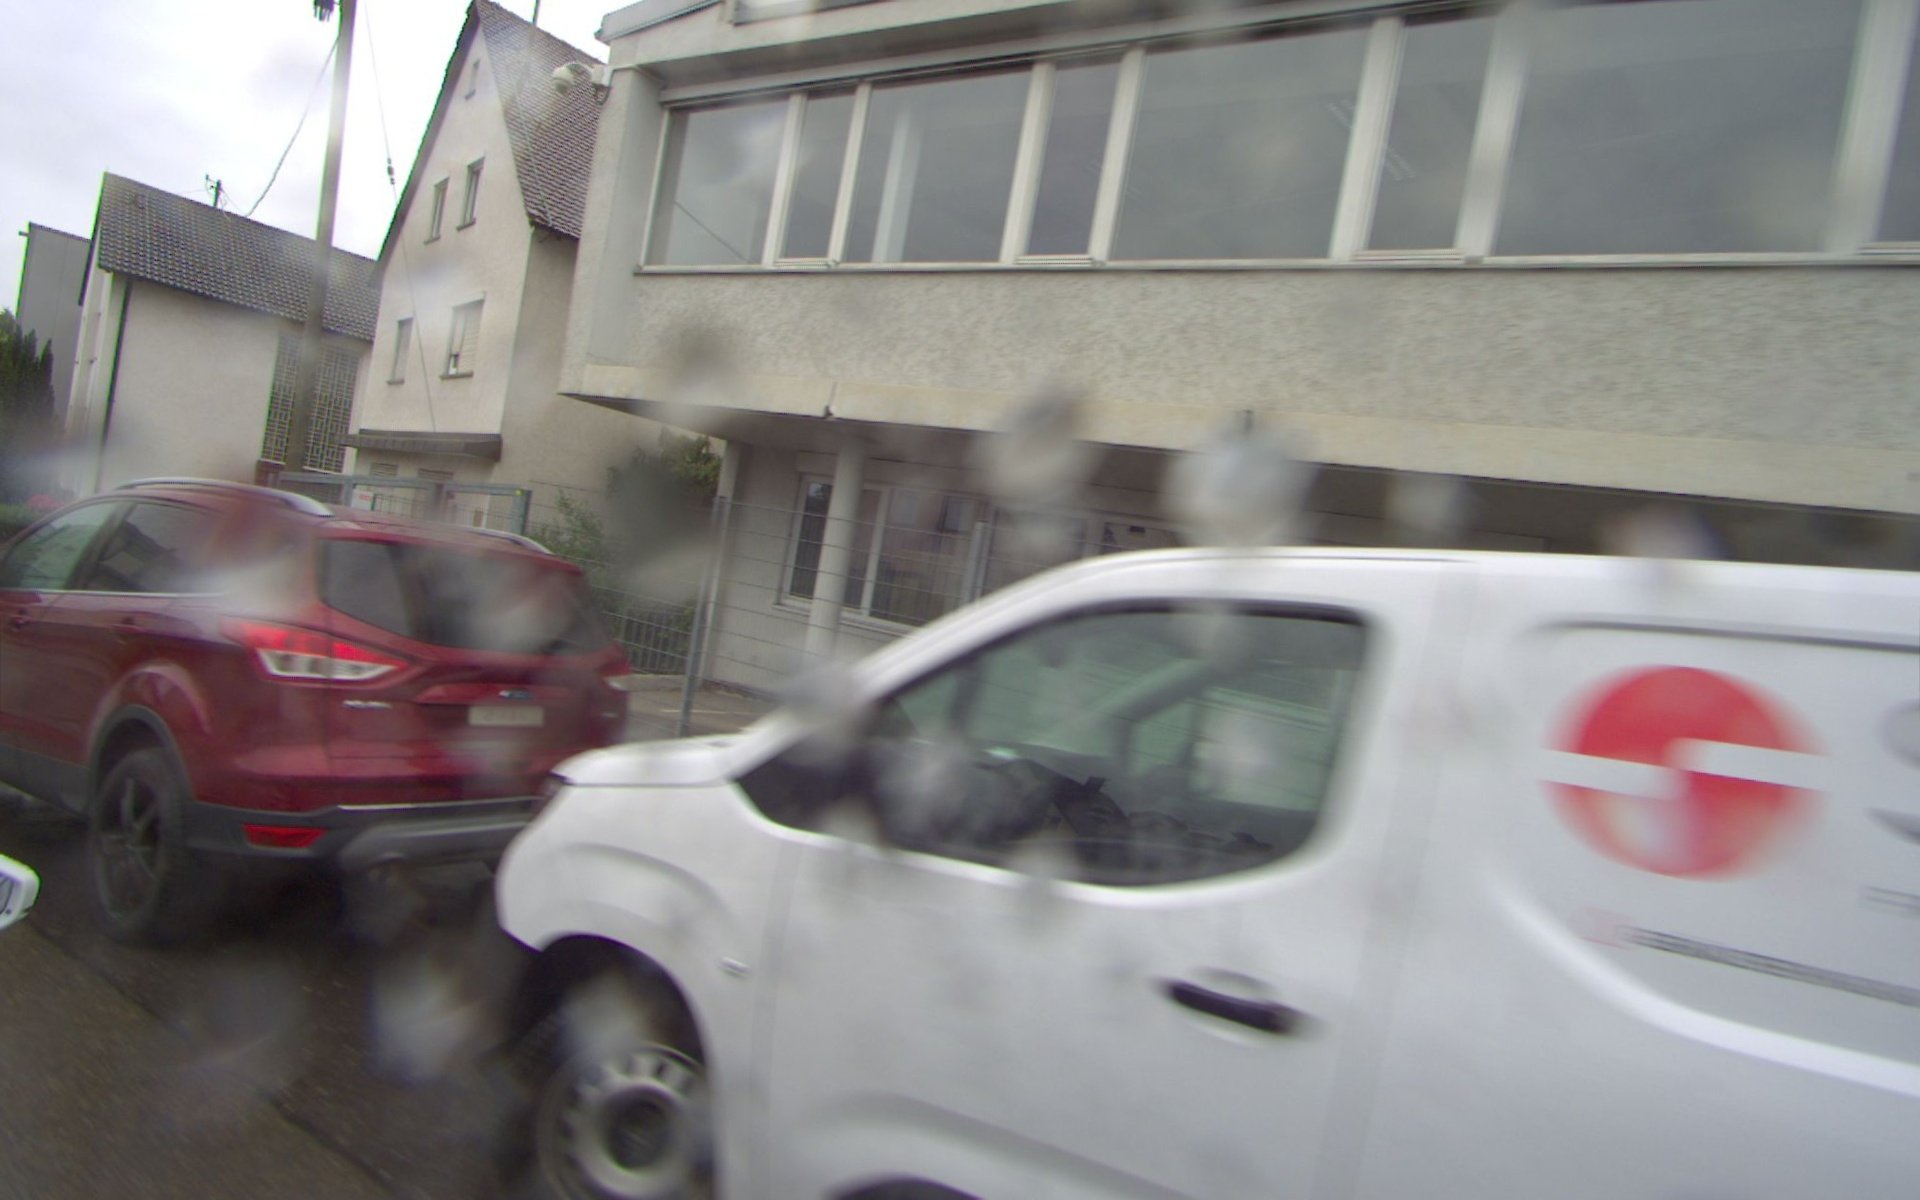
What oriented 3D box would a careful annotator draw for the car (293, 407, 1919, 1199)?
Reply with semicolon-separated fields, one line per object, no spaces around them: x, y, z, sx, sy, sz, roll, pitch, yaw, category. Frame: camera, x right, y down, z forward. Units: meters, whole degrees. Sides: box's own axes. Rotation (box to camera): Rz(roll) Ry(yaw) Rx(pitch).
0.637;0.706;2.367;4.414;1.856;1.881;7;-1;32;car

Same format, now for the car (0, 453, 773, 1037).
-3.528;0.300;5.093;4.876;1.664;1.997;7;-1;32;car
